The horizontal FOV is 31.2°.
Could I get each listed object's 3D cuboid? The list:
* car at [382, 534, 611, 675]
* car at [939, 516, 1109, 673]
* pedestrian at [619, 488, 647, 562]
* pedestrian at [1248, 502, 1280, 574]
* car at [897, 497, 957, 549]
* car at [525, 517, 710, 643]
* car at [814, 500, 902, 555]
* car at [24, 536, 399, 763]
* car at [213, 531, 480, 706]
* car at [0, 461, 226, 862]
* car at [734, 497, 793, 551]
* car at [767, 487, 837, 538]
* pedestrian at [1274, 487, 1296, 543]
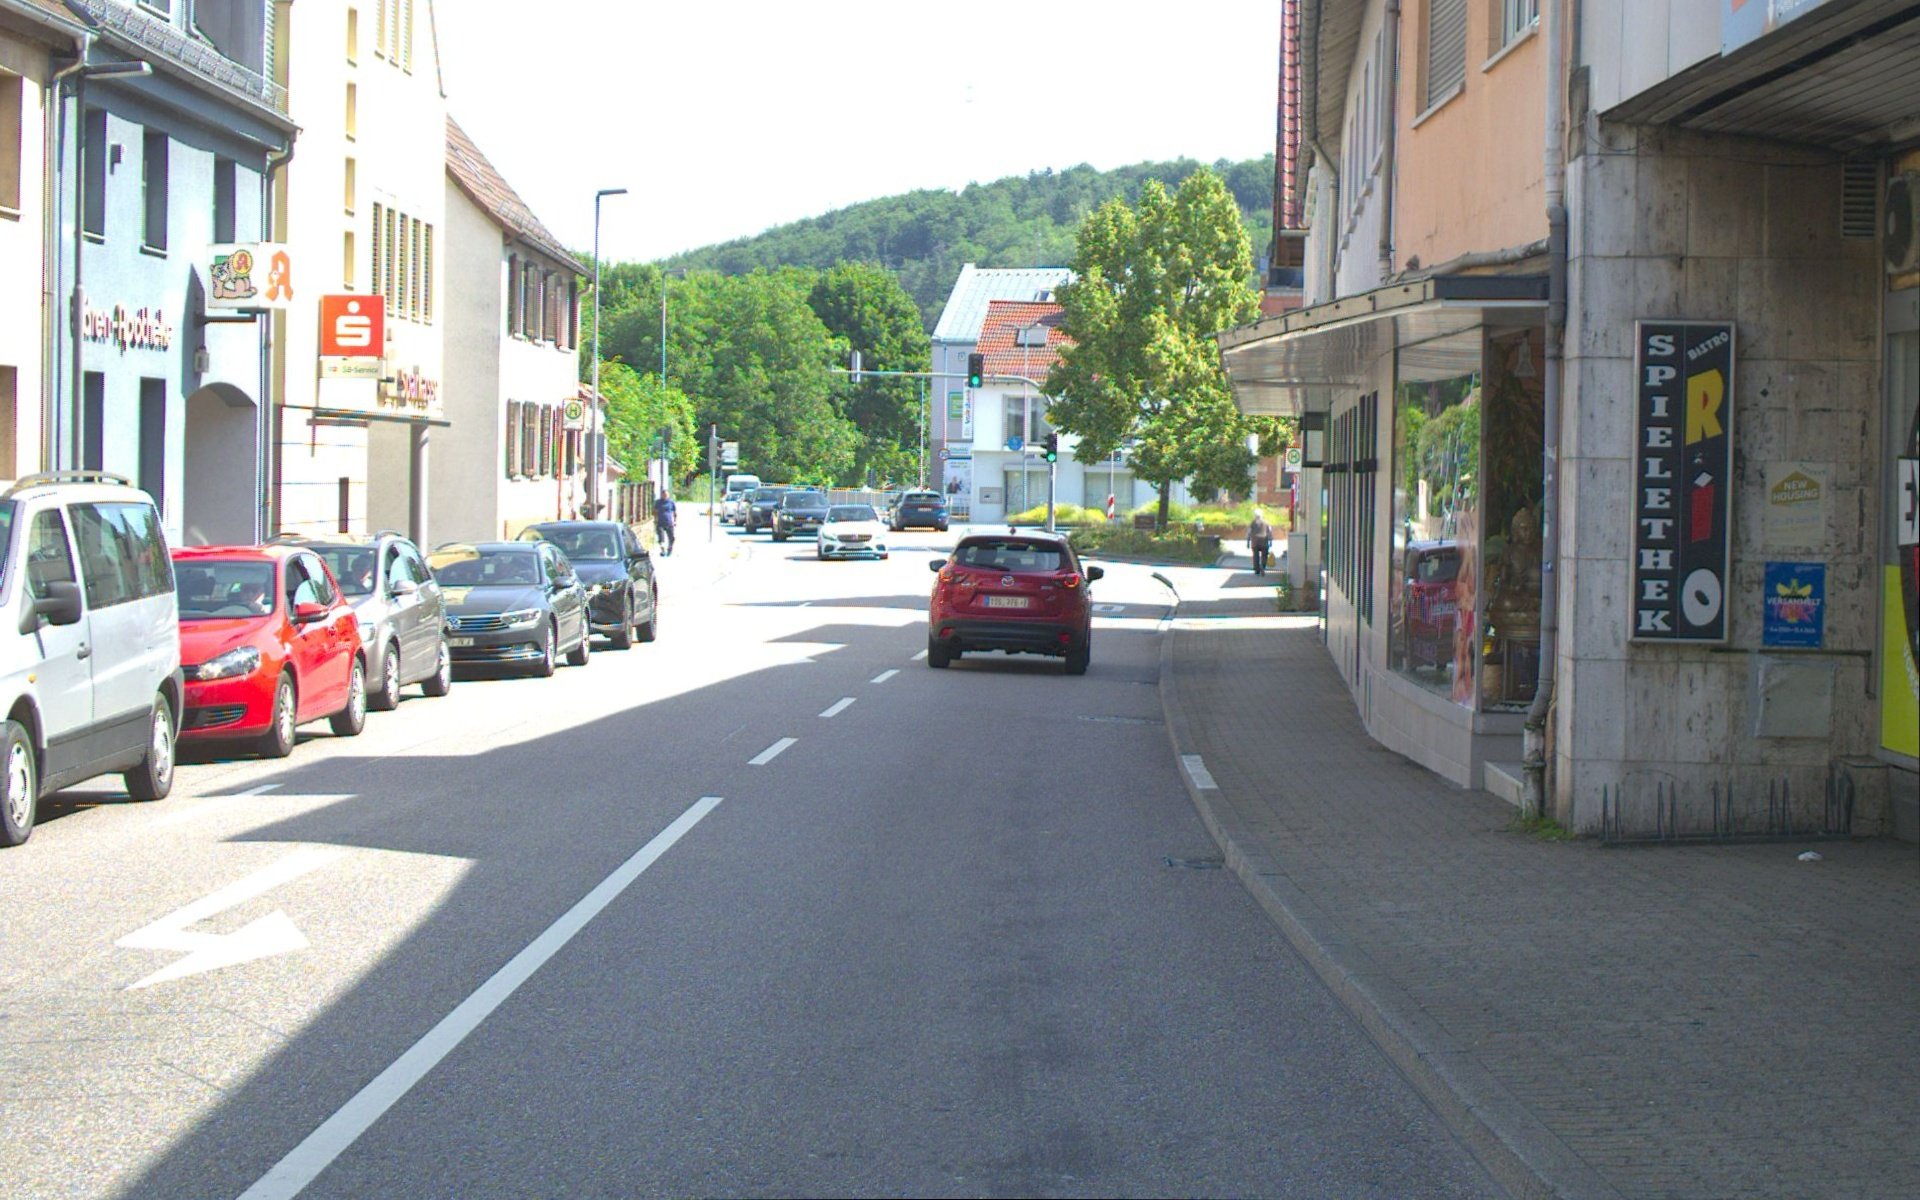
[{"bbox_3d":[-5.058,0.006,38.060,1.789,1.445,4.424,0,1,2],"label":"car"},{"bbox_3d":[0.787,-0.119,41.006,1.859,1.709,4.422,2,1,2],"label":"car"},{"bbox_3d":[-8.214,-1.881,86.453,0.665,1.818,0.799,0,-1,-3],"label":"pedestrian"},{"bbox_3d":[7.222,-1.465,81.635,0.642,1.701,0.700,0,-1,-3],"label":"pedestrian"},{"bbox_3d":[-1.186,-2.784,125.097,1.932,1.788,3.955,0,0,3],"label":"car"},{"bbox_3d":[-4.517,-0.300,45.946,1.867,1.584,4.518,0,1,2],"label":"car"},{"bbox_3d":[-2.743,-1.970,93.522,1.987,1.439,5.101,0,1,3],"label":"car"},{"bbox_3d":[-5.312,0.292,24.912,1.759,1.487,4.076,0,1,1],"label":"car"},{"bbox_3d":[-5.631,0.124,31.984,1.629,1.515,4.019,0,1,2],"label":"car"},{"bbox_3d":[-5.394,0.249,18.422,1.883,1.884,4.552,-1,1,1],"label":"car"},{"bbox_3d":[-6.890,-2.664,120.856,1.774,1.778,3.839,0,0,1],"label":"car"},{"bbox_3d":[-5.069,-2.826,110.476,1.839,1.527,4.253,1,3,3],"label":"car"},{"bbox_3d":[10.992,-2.873,116.258,0.642,1.872,0.652,0,-1,-3],"label":"pedestrian"}]
